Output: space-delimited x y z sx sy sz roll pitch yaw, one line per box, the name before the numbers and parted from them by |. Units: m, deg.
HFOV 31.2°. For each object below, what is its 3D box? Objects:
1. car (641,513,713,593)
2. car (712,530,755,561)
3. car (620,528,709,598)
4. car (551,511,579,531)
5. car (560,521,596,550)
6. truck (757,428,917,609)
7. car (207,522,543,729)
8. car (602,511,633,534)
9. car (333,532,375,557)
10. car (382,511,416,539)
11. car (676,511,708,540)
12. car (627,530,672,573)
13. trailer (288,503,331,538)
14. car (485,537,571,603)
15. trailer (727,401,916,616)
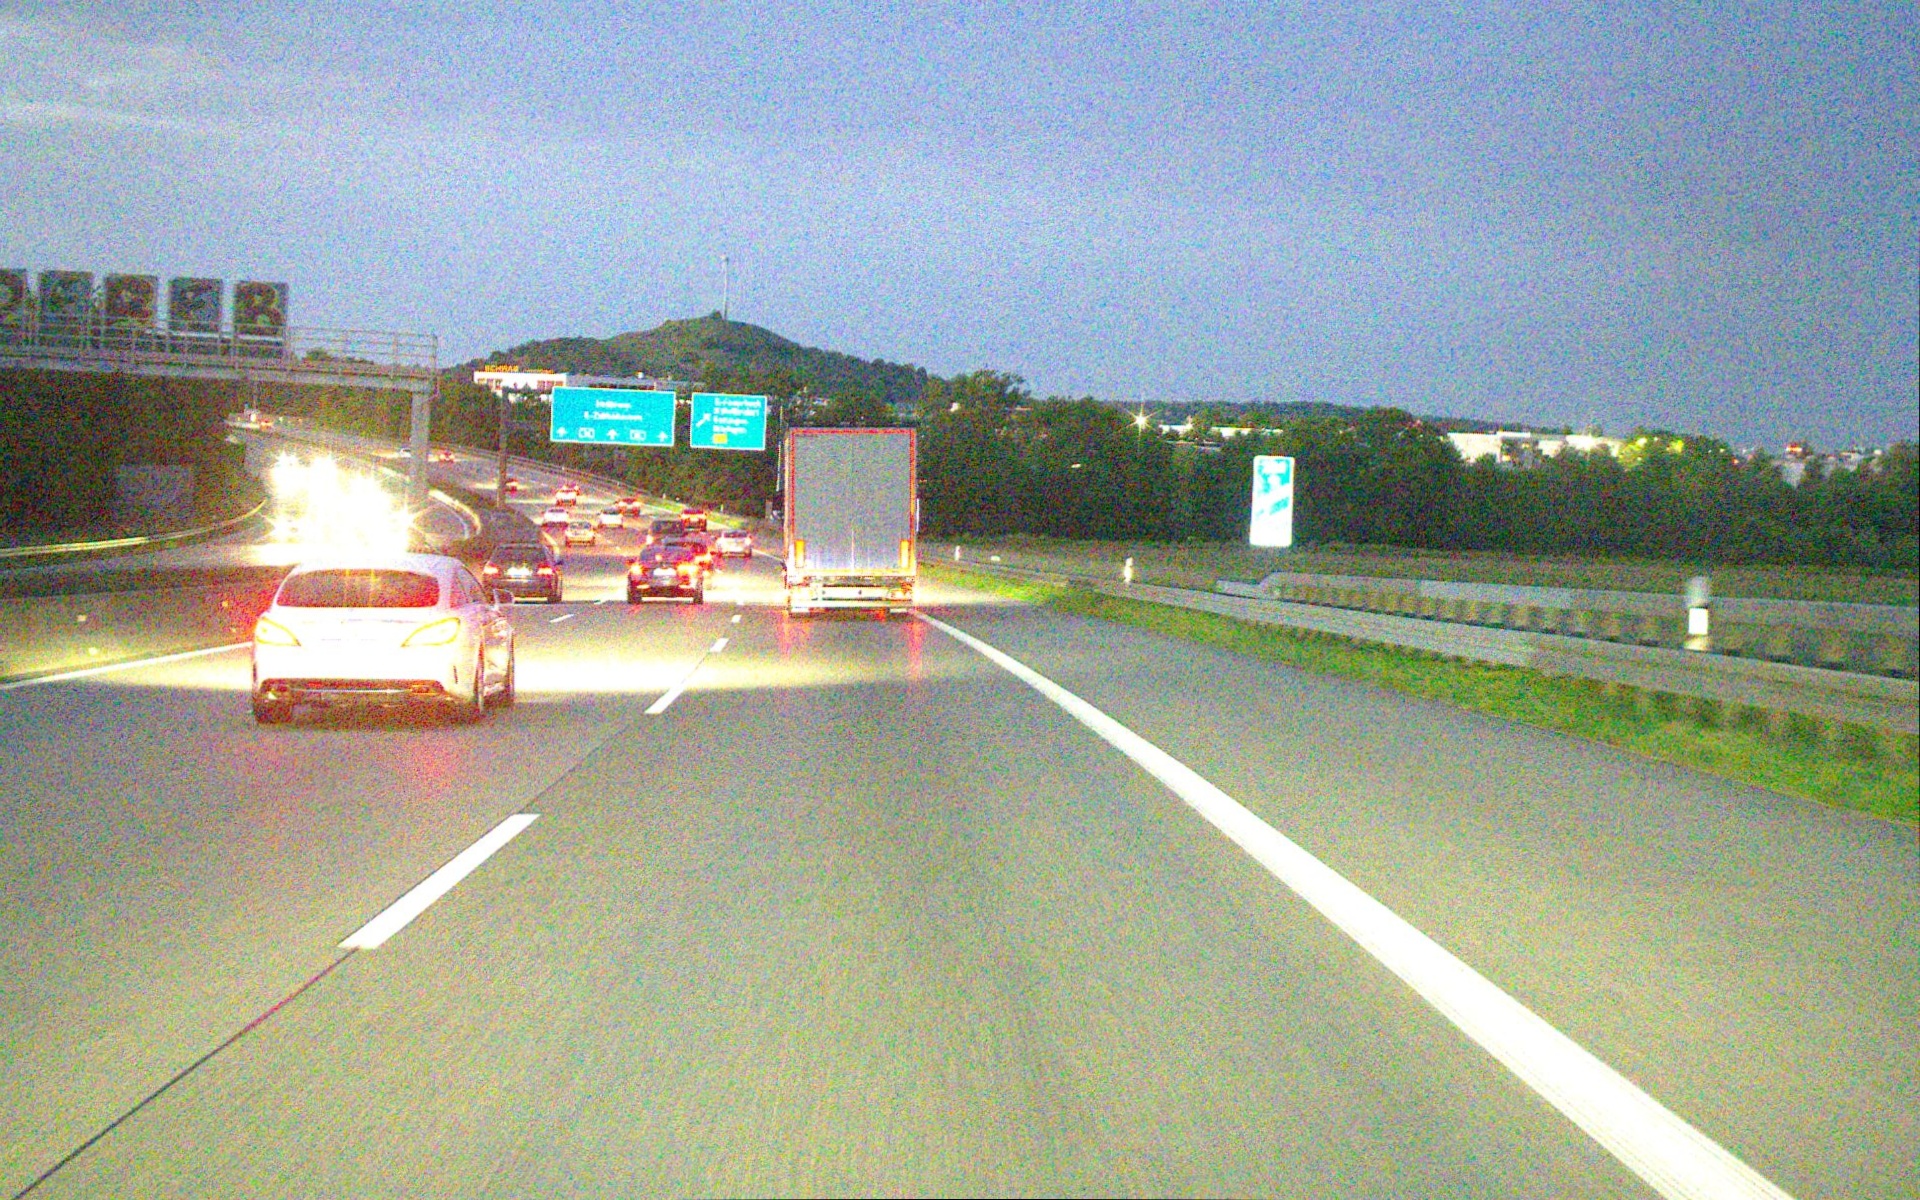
car | -8.658 -1.449 105.433 1.993 2.372 4.000 1 1 -2
car | -11.522 -2.767 174.744 1.993 1.529 4.001 1 1 -6
car | -7.372 -0.934 86.127 2.065 1.680 4.577 1 1 -4
car | -29.429 -5.883 256.083 1.993 1.463 4.001 1 1 -7
car | -22.266 -3.749 200.542 1.993 1.616 4.001 1 1 -6
truck | -2.844 -1.873 81.306 3.550 4.077 6.151 1 0 0
car | -4.932 0.174 29.659 1.906 1.609 4.803 1 1 2
car | -25.148 -5.641 252.003 1.993 1.616 4.001 1 1 -9
car | -33.181 -3.041 188.371 1.689 1.349 4.898 1 1 -3
car | -38.562 -5.162 236.399 1.912 1.861 6.017 1 1 -5
car | -18.903 -5.227 242.436 1.993 1.971 4.001 1 1 -8
car | -15.029 -2.357 166.163 1.993 2.007 4.001 1 1 -7
trailer | -38.192 -4.651 201.906 1.912 1.996 4.241 2 1 -3
car | -10.768 -0.771 85.845 1.761 1.569 4.577 1 1 -3
trailer | -2.782 -1.827 74.185 3.550 4.102 15.063 1 0 -1
